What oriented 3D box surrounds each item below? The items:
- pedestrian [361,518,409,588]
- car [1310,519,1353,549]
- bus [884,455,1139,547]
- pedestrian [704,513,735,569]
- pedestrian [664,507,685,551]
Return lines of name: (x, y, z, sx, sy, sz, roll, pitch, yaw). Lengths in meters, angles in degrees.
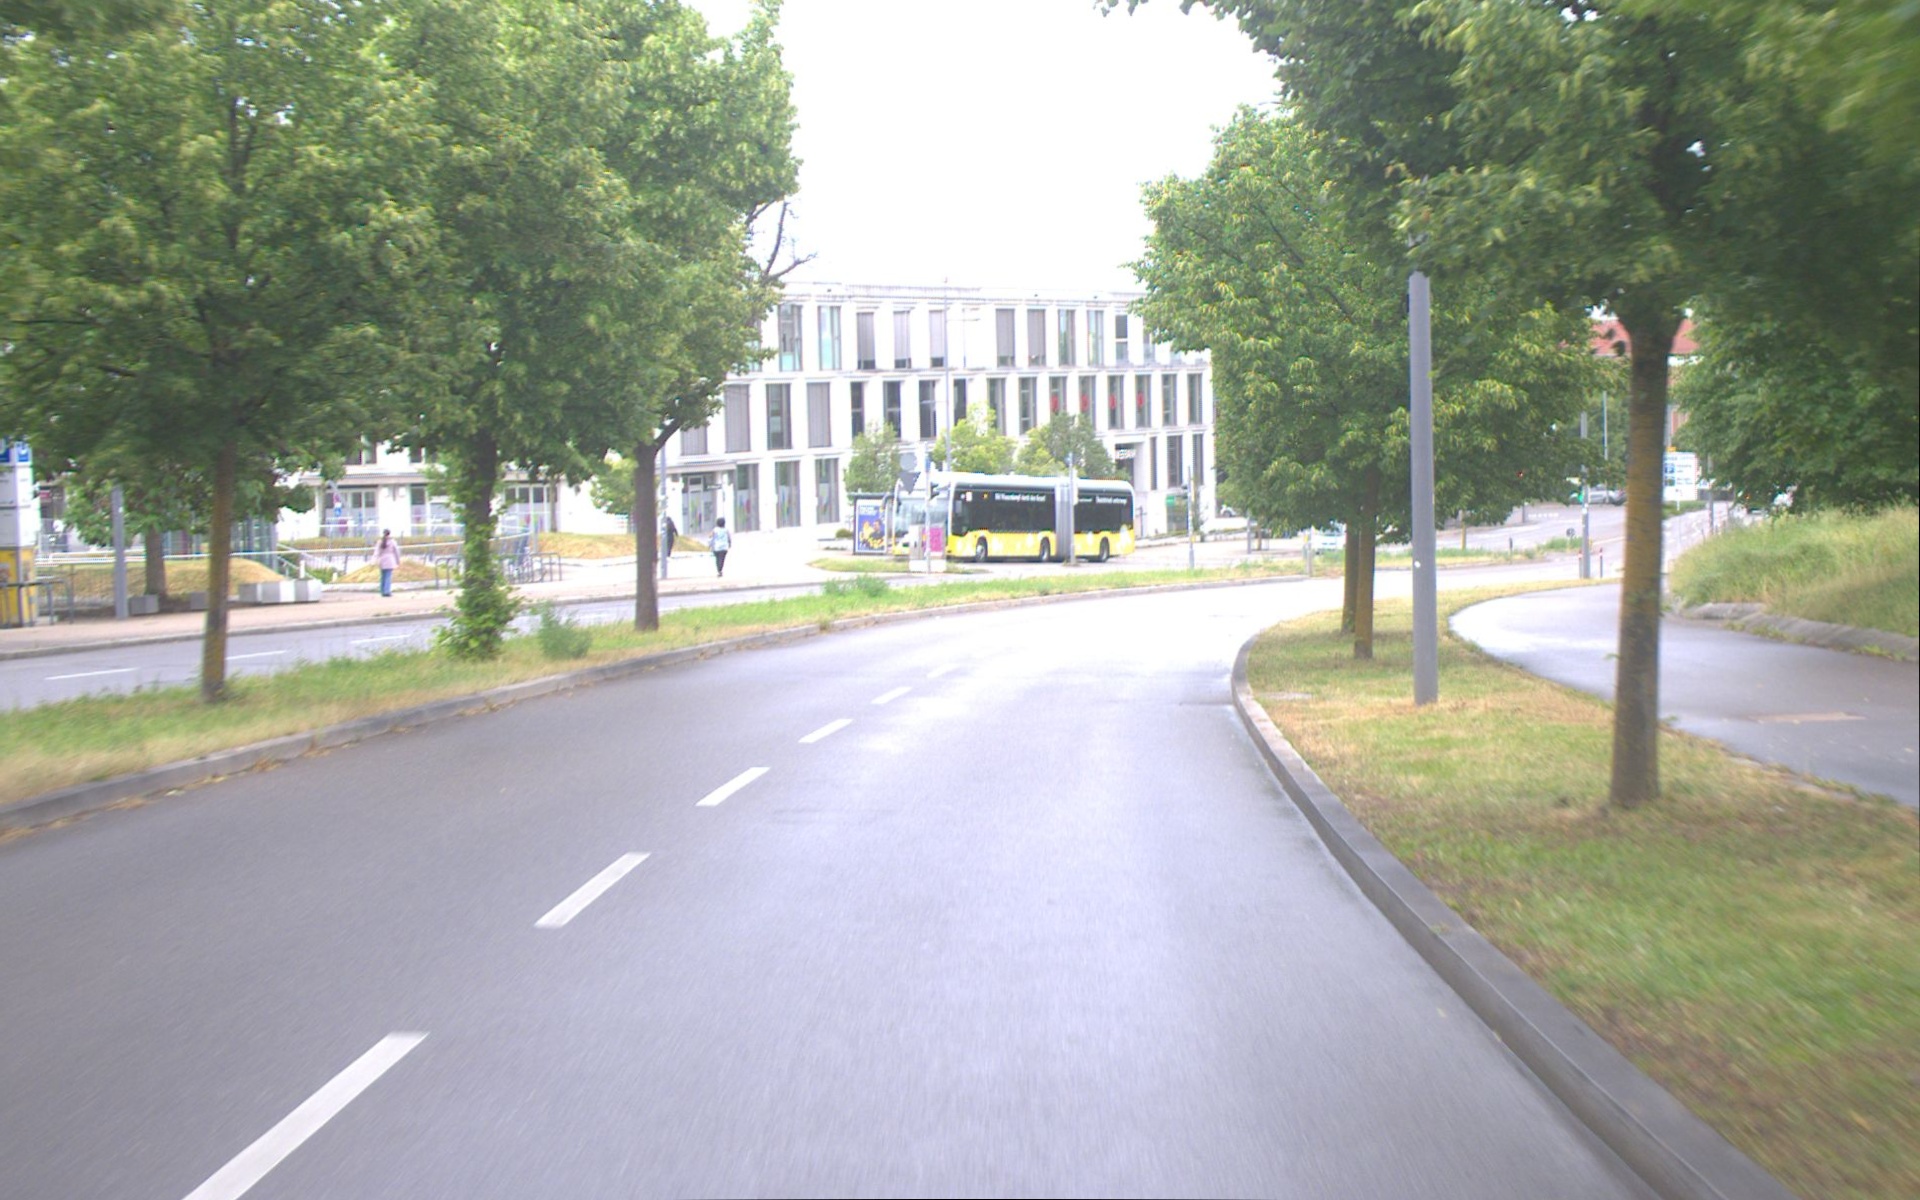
pedestrian: (-13.476, -1.091, 80.599, 0.814, 1.615, 0.935, -1, 0, 11)
car: (18.920, -3.376, 175.227, 1.480, 1.489, 2.527, 0, 1, 23)
bus: (2.312, -3.796, 135.983, 2.788, 3.345, 18.202, 0, 0, 25)
pedestrian: (-6.856, -1.684, 98.084, 0.834, 1.568, 0.719, -1, 0, -6)
pedestrian: (-10.046, -2.501, 121.023, 0.682, 1.519, 0.719, -1, 0, 0)
